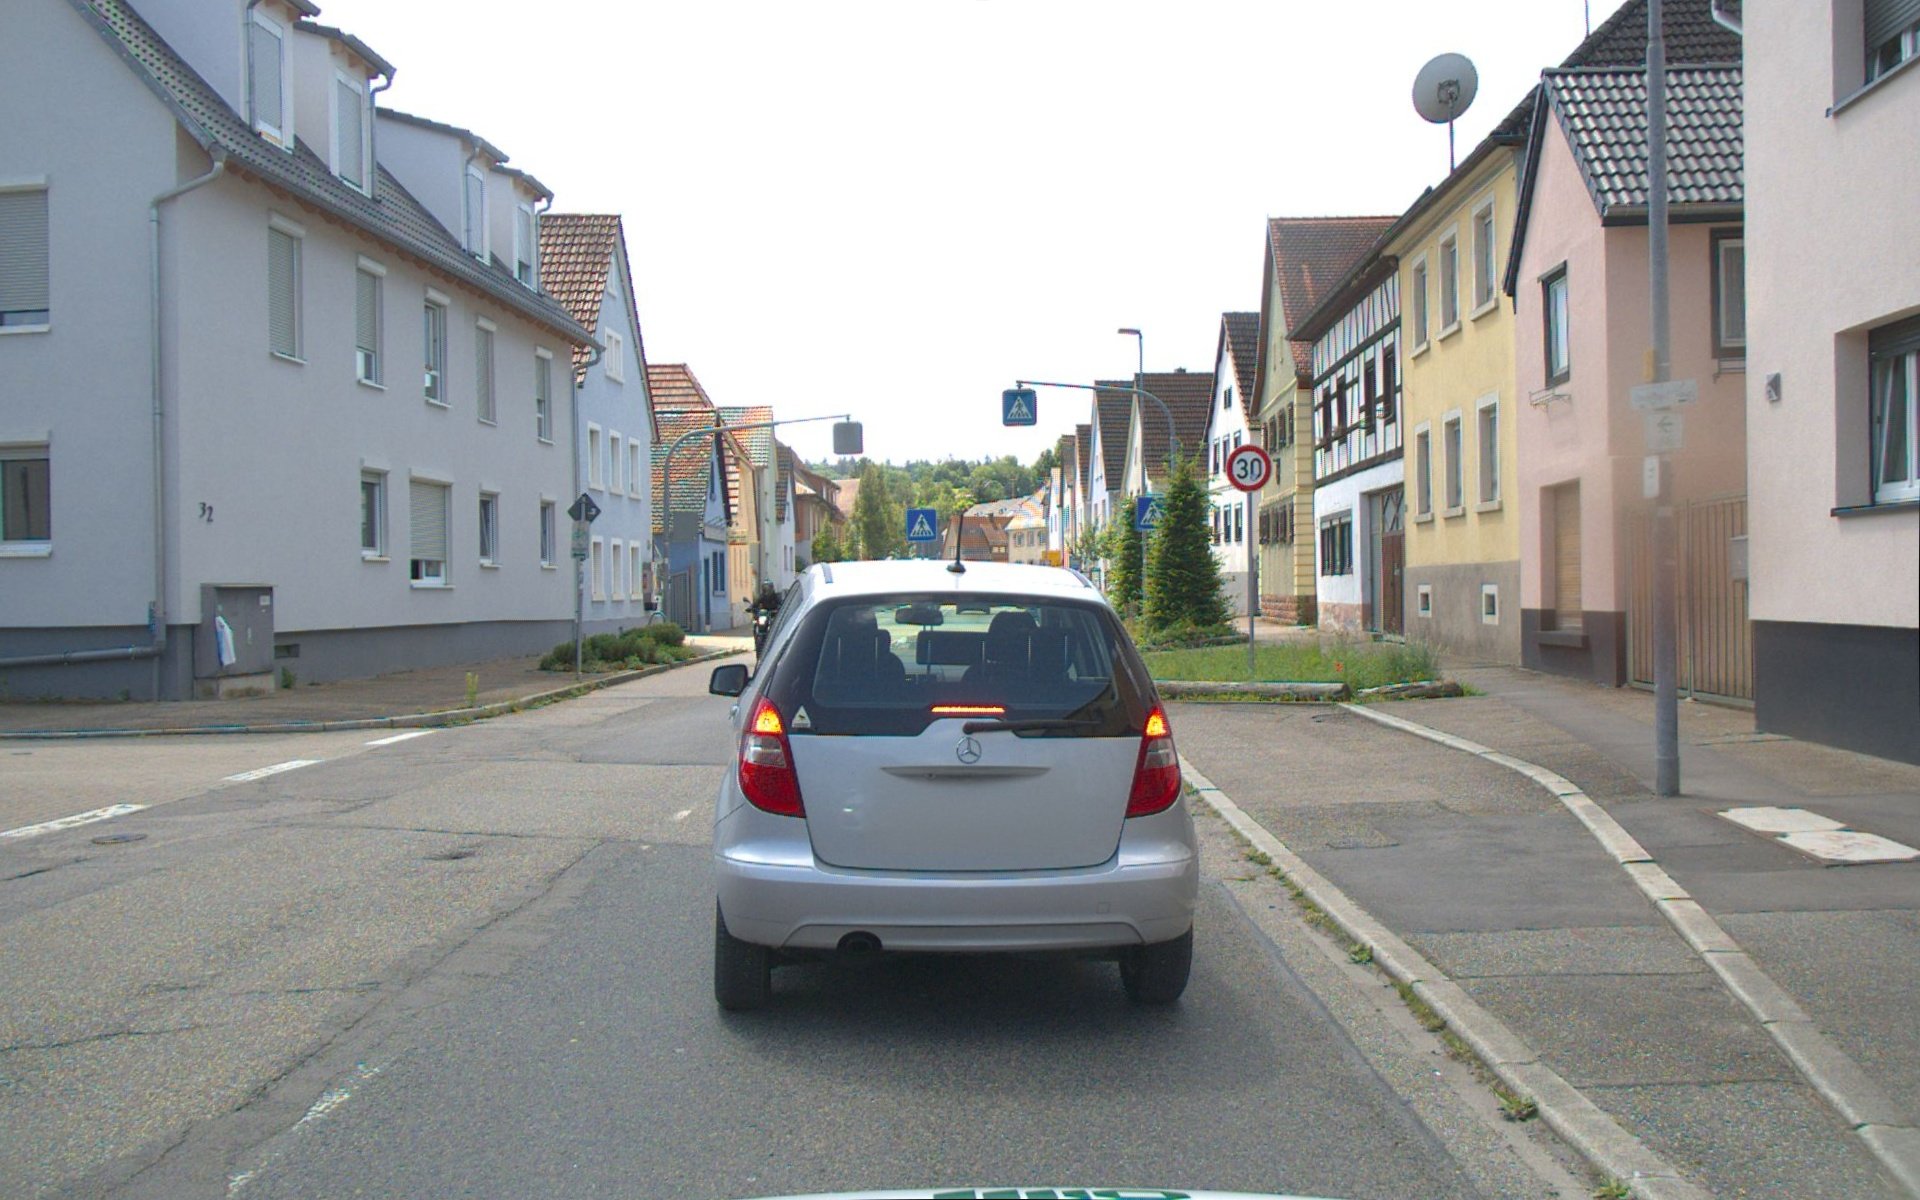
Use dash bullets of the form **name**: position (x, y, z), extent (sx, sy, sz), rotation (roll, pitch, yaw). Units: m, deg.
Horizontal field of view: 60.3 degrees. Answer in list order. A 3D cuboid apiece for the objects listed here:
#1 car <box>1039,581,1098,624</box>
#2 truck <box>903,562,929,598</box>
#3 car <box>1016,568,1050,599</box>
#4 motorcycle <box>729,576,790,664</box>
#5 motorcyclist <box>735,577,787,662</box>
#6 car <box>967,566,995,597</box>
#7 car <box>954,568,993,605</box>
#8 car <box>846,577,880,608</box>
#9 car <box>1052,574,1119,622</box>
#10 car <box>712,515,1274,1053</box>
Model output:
- **car**: position (4.060, 0.120, 62.493), extent (1.953, 1.534, 3.999), rotation (0, -1, 0)
- **truck**: position (-3.433, -1.565, 130.158), extent (1.953, 2.581, 6.737), rotation (0, -1, -1)
- **car**: position (4.663, -1.068, 106.052), extent (1.953, 1.848, 3.998), rotation (0, -1, -1)
- **motorcycle**: position (-3.736, 0.352, 30.996), extent (0.862, 1.588, 1.968), rotation (0, 1, 1)
- **motorcyclist**: position (-3.758, 0.366, 31.248), extent (0.878, 1.582, 0.807), rotation (0, 1, 0)
- **car**: position (1.466, -1.313, 117.996), extent (1.953, 2.049, 3.999), rotation (0, -1, 0)
- **car**: position (0.688, -0.688, 88.125), extent (1.953, 1.848, 3.998), rotation (0, -1, -1)
- **car**: position (-5.375, -0.404, 91.758), extent (1.633, 1.624, 3.999), rotation (0, -1, 0)
- **car**: position (4.187, -0.044, 55.599), extent (1.953, 1.534, 3.999), rotation (0, -1, 0)
- **car**: position (-0.096, 0.591, 7.112), extent (1.776, 1.672, 3.723), rotation (1, 0, -7)
